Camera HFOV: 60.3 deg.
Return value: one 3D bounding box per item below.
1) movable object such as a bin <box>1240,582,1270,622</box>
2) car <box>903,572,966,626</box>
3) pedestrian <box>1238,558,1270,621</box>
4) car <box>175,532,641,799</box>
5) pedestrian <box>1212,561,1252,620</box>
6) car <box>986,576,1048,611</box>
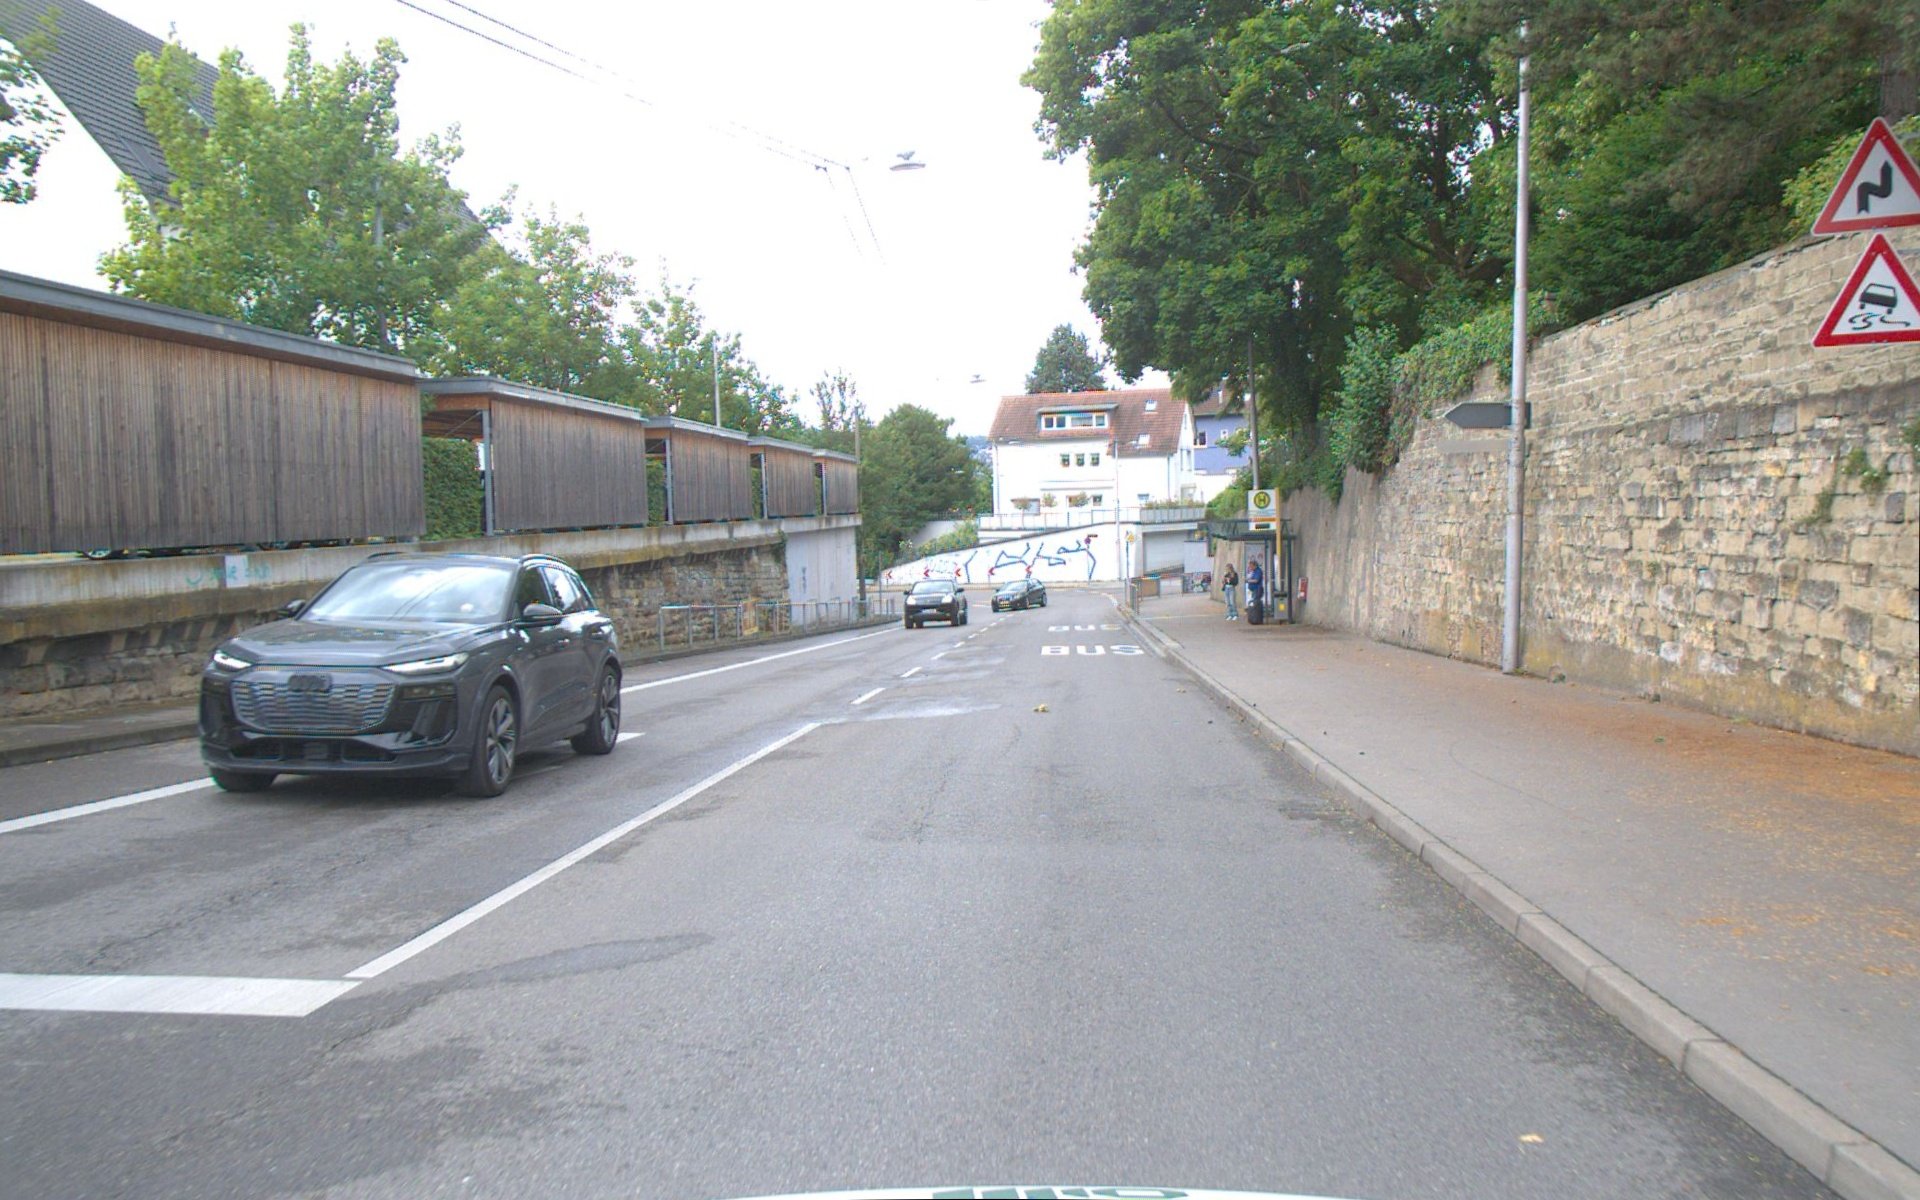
[{"bbox_3d":[7.858,0.053,44.033,0.661,1.038,0.627,-2,1,-1],"label":"movable object such as a bin"},{"bbox_3d":[-0.864,-0.041,58.709,1.854,1.787,4.439,-2,0,4],"label":"car"},{"bbox_3d":[7.944,-0.278,44.723,0.706,1.671,0.631,-2,0,-1],"label":"pedestrian"},{"bbox_3d":[-3.902,0.413,12.643,1.882,1.658,4.524,1,0,2],"label":"car"},{"bbox_3d":[7.735,-0.266,47.038,0.768,1.615,0.725,-4,2,-45],"label":"pedestrian"},{"bbox_3d":[2.744,-0.305,78.659,1.699,1.559,4.001,-2,0,21],"label":"car"}]
